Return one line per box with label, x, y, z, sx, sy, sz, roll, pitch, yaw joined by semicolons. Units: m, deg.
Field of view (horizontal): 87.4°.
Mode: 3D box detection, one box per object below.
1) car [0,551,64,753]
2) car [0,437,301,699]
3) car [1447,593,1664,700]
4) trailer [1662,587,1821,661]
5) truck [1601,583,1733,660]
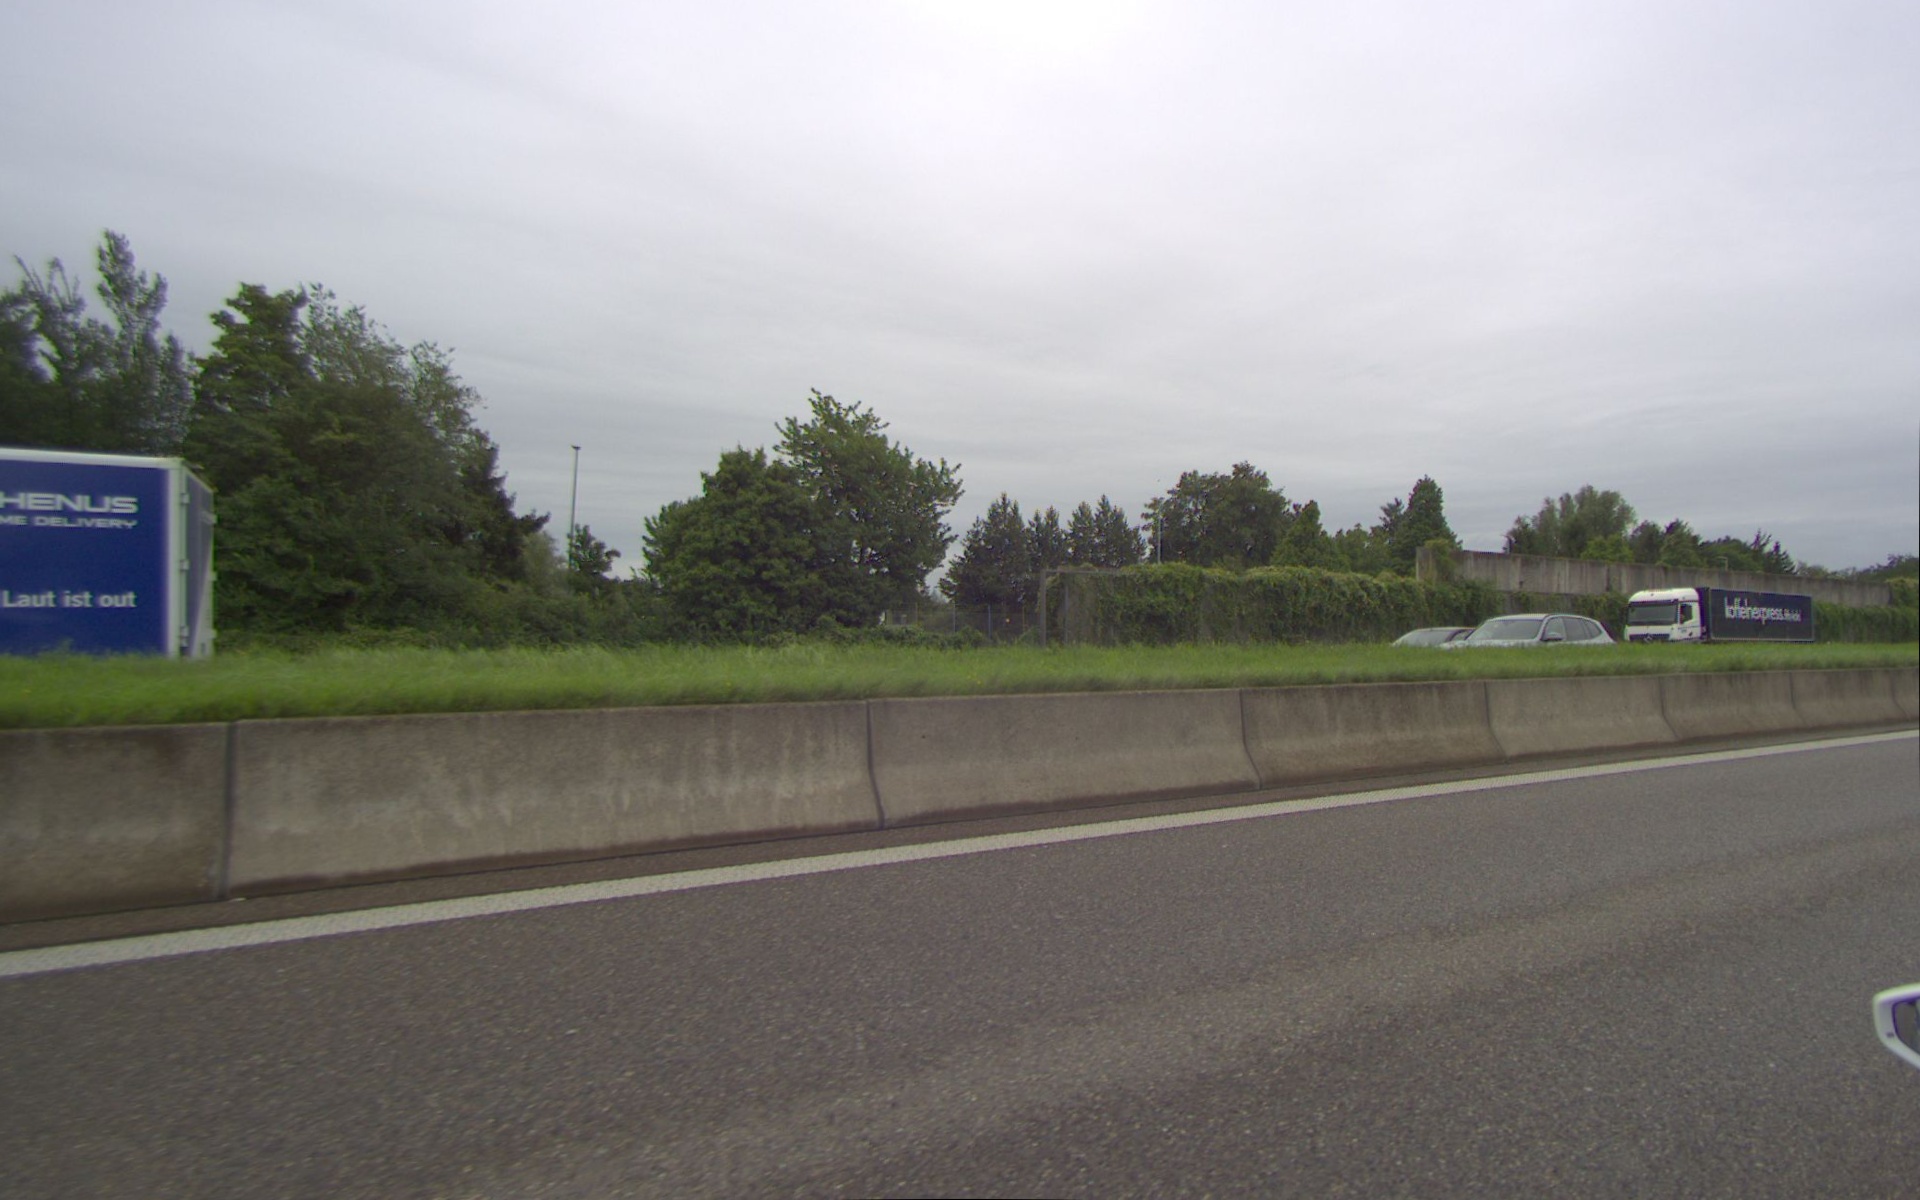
car;-10.184;0.367;8.083;4.101;1.684;1.812;2;0;-31
car;-11.698;-0.383;11.024;7.228;2.771;2.311;2;0;-30
car;12.579;0.922;21.166;4.469;2.040;2.109;1;0;-32
trailer;38.540;1.226;49.352;10.436;3.333;2.296;2;0;-30
truck;32.272;0.997;45.791;6.504;3.316;2.305;2;0;-30
